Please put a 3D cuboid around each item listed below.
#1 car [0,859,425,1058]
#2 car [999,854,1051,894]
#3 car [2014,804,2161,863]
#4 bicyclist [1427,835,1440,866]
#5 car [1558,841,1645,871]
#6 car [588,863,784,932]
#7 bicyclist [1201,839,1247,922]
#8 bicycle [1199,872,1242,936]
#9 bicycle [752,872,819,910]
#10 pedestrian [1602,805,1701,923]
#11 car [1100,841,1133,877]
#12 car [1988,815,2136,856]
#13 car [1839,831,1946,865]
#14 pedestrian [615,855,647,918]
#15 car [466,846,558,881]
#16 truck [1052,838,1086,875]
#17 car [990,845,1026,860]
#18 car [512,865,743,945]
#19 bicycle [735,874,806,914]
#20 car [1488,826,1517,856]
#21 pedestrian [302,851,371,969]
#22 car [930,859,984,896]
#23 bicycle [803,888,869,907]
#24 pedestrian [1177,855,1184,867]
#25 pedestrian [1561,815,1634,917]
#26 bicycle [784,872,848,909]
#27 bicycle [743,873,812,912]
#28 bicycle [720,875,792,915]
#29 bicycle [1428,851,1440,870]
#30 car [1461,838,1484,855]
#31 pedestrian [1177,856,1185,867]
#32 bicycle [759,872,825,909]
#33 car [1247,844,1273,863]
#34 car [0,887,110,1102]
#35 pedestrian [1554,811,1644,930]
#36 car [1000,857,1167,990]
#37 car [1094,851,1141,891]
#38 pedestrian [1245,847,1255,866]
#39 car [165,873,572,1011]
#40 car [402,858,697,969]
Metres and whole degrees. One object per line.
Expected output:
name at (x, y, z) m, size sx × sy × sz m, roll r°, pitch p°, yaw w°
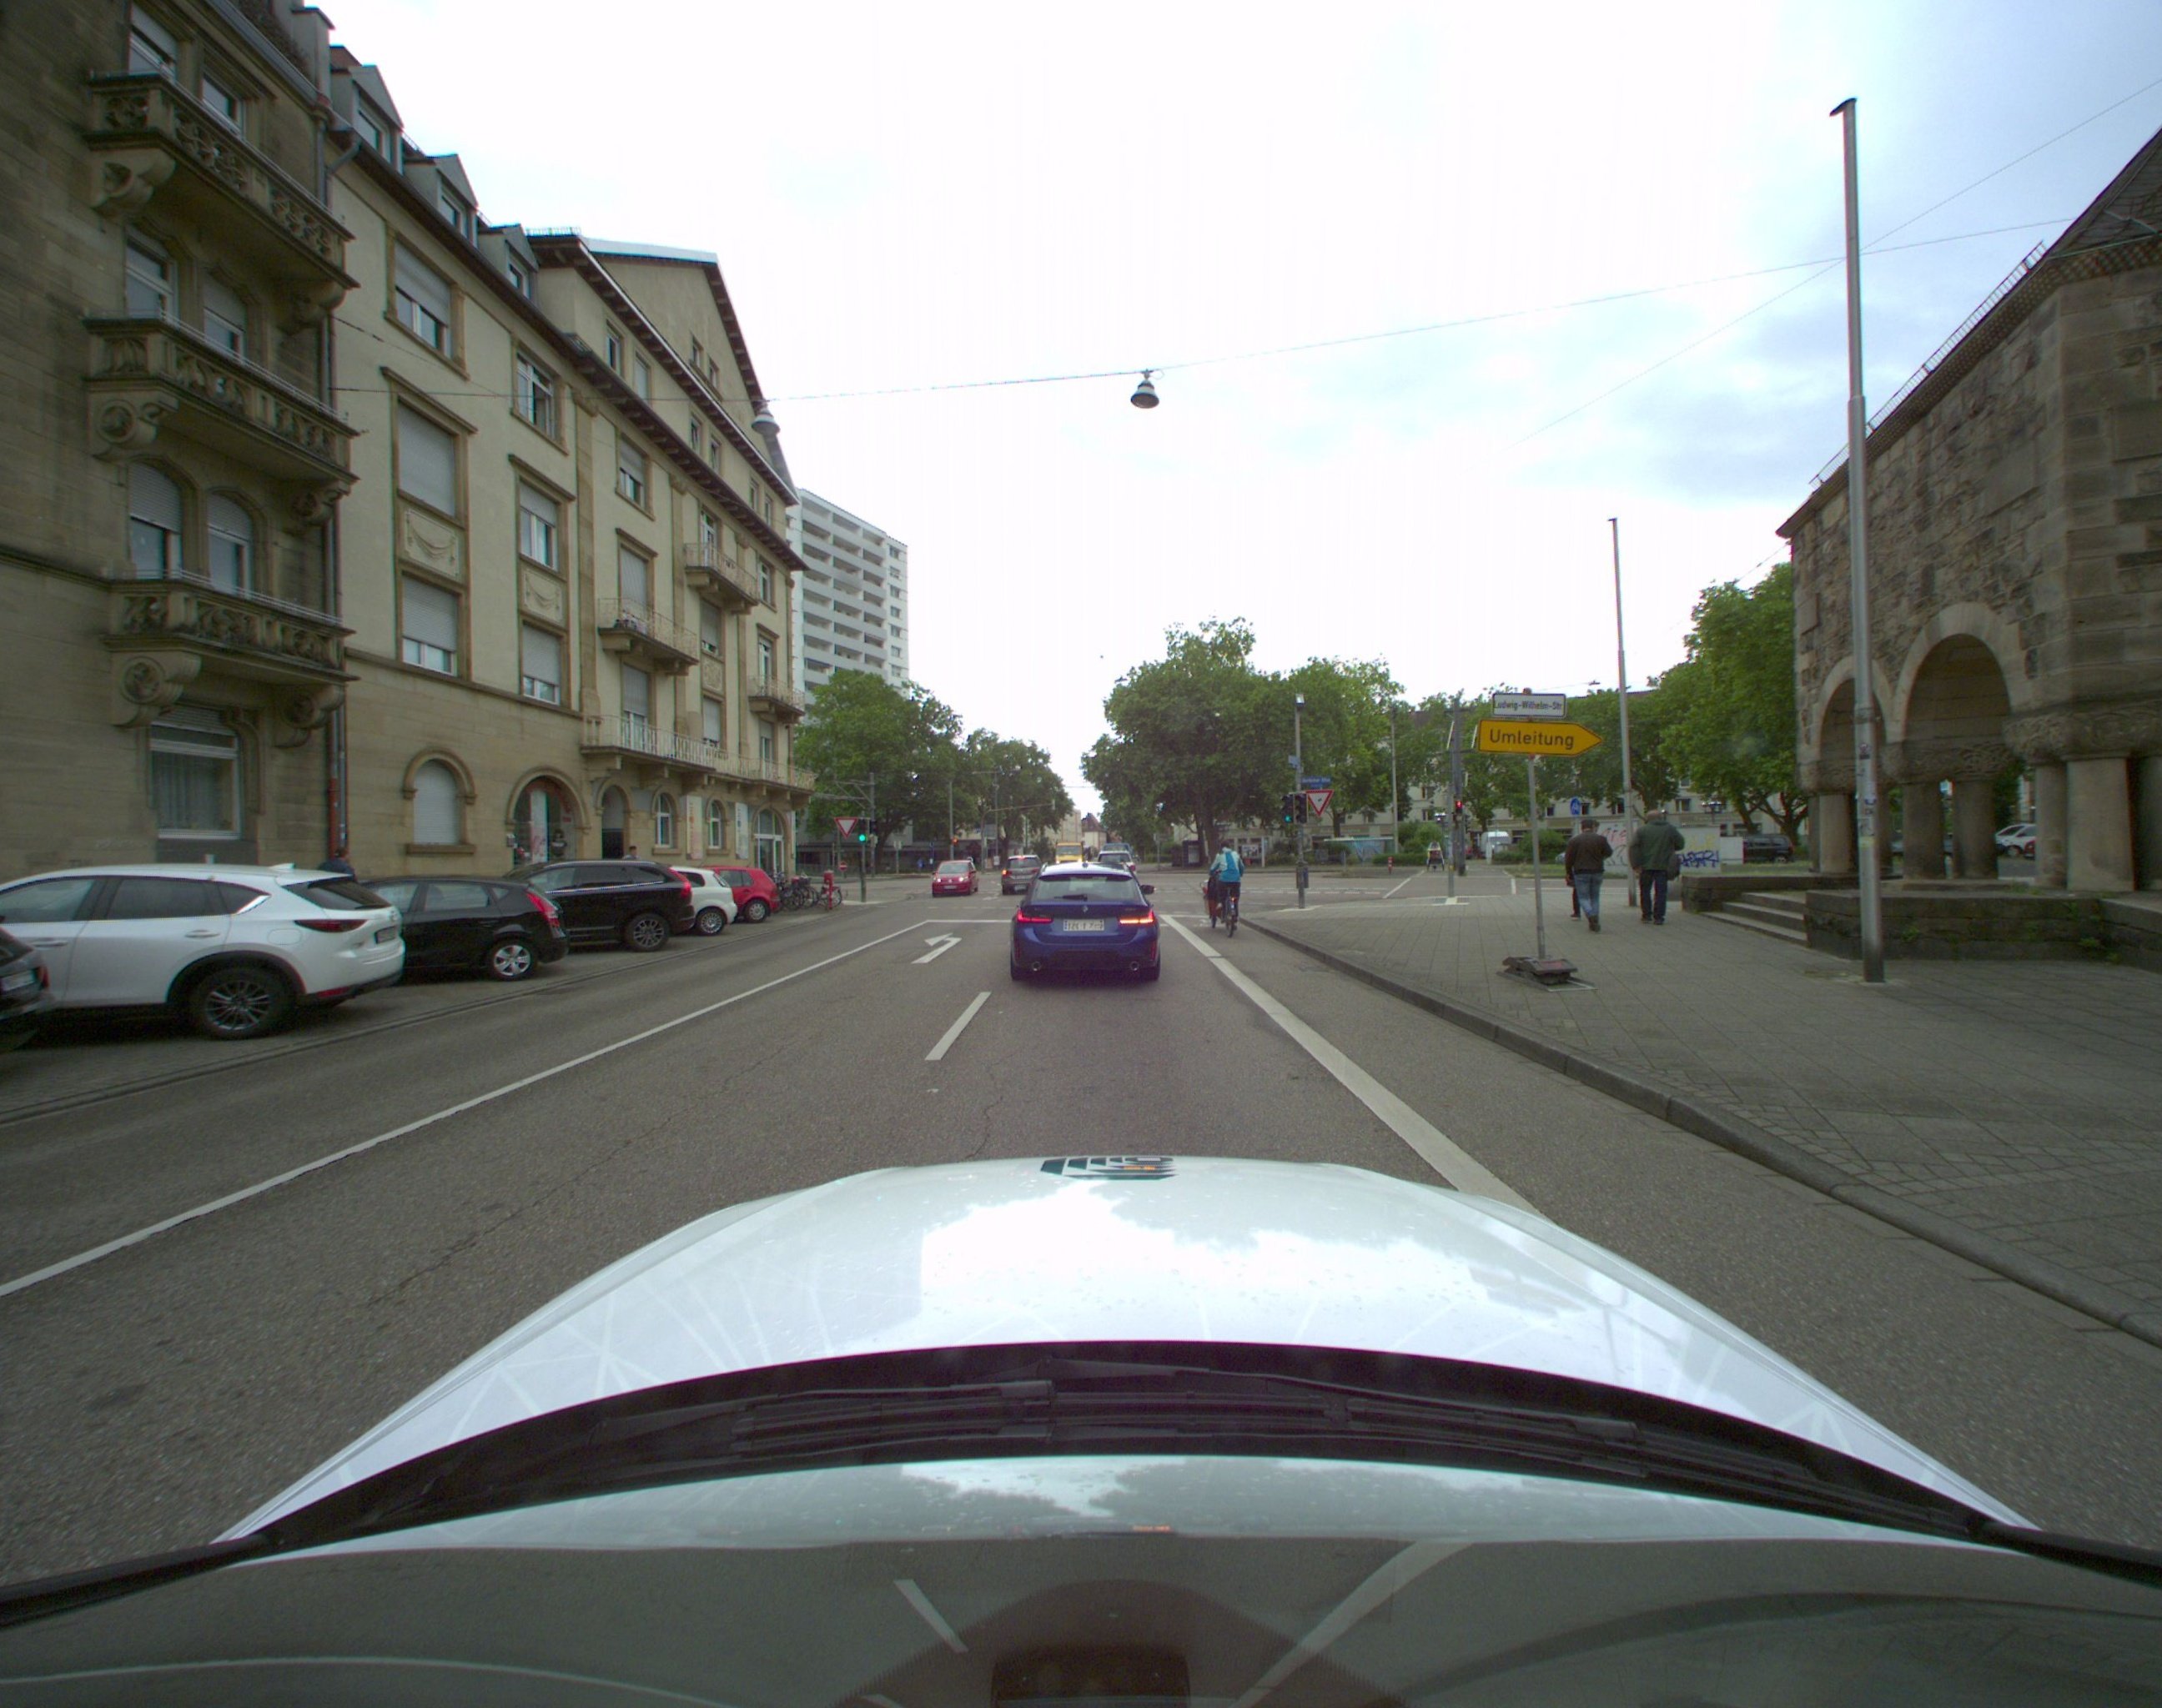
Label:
car at (-9.435, 0.942, 8.222) m, size 4.004 × 1.723 × 1.827 m, roll -1°, pitch -1°, yaw -23°
car at (-2.264, 0.805, 34.123) m, size 1.726 × 1.525 × 4.002 m, roll -2°, pitch 0°, yaw 2°
car at (47.842, -0.926, 37.804) m, size 5.541 × 2.538 × 2.004 m, roll -2°, pitch -1°, yaw 25°
bicyclist at (18.875, -0.193, 43.617) m, size 0.608 × 1.654 × 0.758 m, roll -2°, pitch -1°, yaw 23°
car at (29.693, 0.125, 46.612) m, size 3.940 × 1.561 × 1.697 m, roll -2°, pitch -1°, yaw 25°
car at (-9.624, 0.996, 20.064) m, size 1.663 × 1.472 × 4.024 m, roll 1°, pitch 0°, yaw 43°
bicyclist at (2.719, 0.493, 15.591) m, size 0.683 × 1.518 × 1.059 m, roll -2°, pitch 0°, yaw 2°
bicycle at (2.684, 0.938, 15.833) m, size 0.492 × 1.098 × 2.139 m, roll -2°, pitch 0°, yaw 2°
bicycle at (-9.262, 1.151, 25.548) m, size 1.880 × 1.035 × 0.442 m, roll 4°, pitch 0°, yaw -1°
pedestrian at (9.047, 0.158, 12.958) m, size 0.801 × 1.758 × 0.969 m, roll -4°, pitch 0°, yaw 2°
car at (2.058, 0.280, 47.999) m, size 1.808 × 2.005 × 4.002 m, roll -2°, pitch 0°, yaw 2°
car at (56.081, -1.029, 46.709) m, size 5.025 × 2.096 × 2.004 m, roll -2°, pitch -1°, yaw 25°
car at (41.028, -0.302, 41.263) m, size 3.424 × 1.561 × 1.697 m, roll -2°, pitch -1°, yaw 25°
pedestrian at (-13.071, 0.925, 23.654) m, size 0.564 × 1.785 × 0.551 m, roll -2°, pitch 0°, yaw 3°
car at (-14.584, 0.240, 20.943) m, size 0.910 × 0.834 × 2.015 m, roll -1°, pitch -1°, yaw 2°
truck at (-0.815, 0.162, 58.361) m, size 2.067 × 2.408 × 5.465 m, roll -2°, pitch 0°, yaw 2°
car at (-9.016, -0.167, 100.334) m, size 4.014 × 1.706 × 1.980 m, roll -1°, pitch -1°, yaw -32°
car at (-9.474, 1.000, 17.203) m, size 4.021 × 1.472 × 1.546 m, roll 1°, pitch 0°, yaw -41°
bicycle at (-9.269, 1.187, 24.350) m, size 1.880 × 1.035 × 0.442 m, roll 4°, pitch 0°, yaw -1°
car at (39.087, -1.174, 75.462) m, size 2.214 × 2.639 × 5.480 m, roll -2°, pitch 0°, yaw 28°
pedestrian at (-12.647, 0.932, 13.850) m, size 0.616 × 1.958 × 0.551 m, roll -2°, pitch 0°, yaw 3°
car at (-5.310, 0.984, 35.205) m, size 1.643 × 1.447 × 3.513 m, roll -2°, pitch 0°, yaw 2°
bicycle at (-8.326, 1.484, 27.747) m, size 1.880 × 0.445 × 1.029 m, roll 4°, pitch 1°, yaw -1°
pedestrian at (11.897, 0.836, 97.512) m, size 0.814 × 1.372 × 0.763 m, roll -2°, pitch -1°, yaw 2°
pedestrian at (8.914, 0.200, 14.095) m, size 0.629 × 1.673 × 0.971 m, roll -4°, pitch 0°, yaw 8°
bicycle at (-8.695, 1.194, 26.718) m, size 1.880 × 1.035 × 0.442 m, roll 4°, pitch 0°, yaw -1°
bicycle at (-9.265, 1.171, 24.886) m, size 1.880 × 1.035 × 0.442 m, roll 4°, pitch 0°, yaw -1°
bicycle at (-9.386, 1.186, 23.536) m, size 1.877 × 1.035 × 0.443 m, roll 3°, pitch 0°, yaw 4°
bicycle at (18.900, 0.340, 43.623) m, size 0.546 × 0.995 × 2.072 m, roll -2°, pitch 0°, yaw 24°
car at (35.771, -0.688, 74.385) m, size 1.649 × 1.515 × 3.962 m, roll -2°, pitch 0°, yaw 28°
pedestrian at (11.855, 0.864, 96.658) m, size 0.850 × 1.314 × 0.763 m, roll -2°, pitch -1°, yaw 2°
bicycle at (-9.276, 1.171, 26.185) m, size 1.880 × 1.035 × 0.442 m, roll 4°, pitch 0°, yaw -1°
car at (22.239, -0.102, 101.050) m, size 2.154 × 2.200 × 4.024 m, roll -2°, pitch 0°, yaw 26°
car at (-9.593, 1.010, 5.353) m, size 3.830 × 1.497 × 1.552 m, roll 1°, pitch -1°, yaw -37°
pedestrian at (7.826, 0.237, 12.345) m, size 0.672 × 1.686 × 0.969 m, roll -4°, pitch 0°, yaw 2°
car at (0.099, 0.774, 11.178) m, size 1.808 × 1.405 × 4.322 m, roll -2°, pitch 0°, yaw 2°
car at (1.539, 0.684, 34.787) m, size 1.808 × 1.592 × 4.002 m, roll -2°, pitch 0°, yaw 2°
pedestrian at (16.179, 0.227, 78.042) m, size 0.781 × 1.743 × 0.925 m, roll -2°, pitch -1°, yaw 0°
car at (-9.517, 1.069, 11.349) m, size 4.017 × 1.494 × 1.713 m, roll -1°, pitch -1°, yaw -36°
car at (-9.386, 0.936, 14.588) m, size 4.248 × 1.652 × 1.711 m, roll -1°, pitch -1°, yaw -41°
